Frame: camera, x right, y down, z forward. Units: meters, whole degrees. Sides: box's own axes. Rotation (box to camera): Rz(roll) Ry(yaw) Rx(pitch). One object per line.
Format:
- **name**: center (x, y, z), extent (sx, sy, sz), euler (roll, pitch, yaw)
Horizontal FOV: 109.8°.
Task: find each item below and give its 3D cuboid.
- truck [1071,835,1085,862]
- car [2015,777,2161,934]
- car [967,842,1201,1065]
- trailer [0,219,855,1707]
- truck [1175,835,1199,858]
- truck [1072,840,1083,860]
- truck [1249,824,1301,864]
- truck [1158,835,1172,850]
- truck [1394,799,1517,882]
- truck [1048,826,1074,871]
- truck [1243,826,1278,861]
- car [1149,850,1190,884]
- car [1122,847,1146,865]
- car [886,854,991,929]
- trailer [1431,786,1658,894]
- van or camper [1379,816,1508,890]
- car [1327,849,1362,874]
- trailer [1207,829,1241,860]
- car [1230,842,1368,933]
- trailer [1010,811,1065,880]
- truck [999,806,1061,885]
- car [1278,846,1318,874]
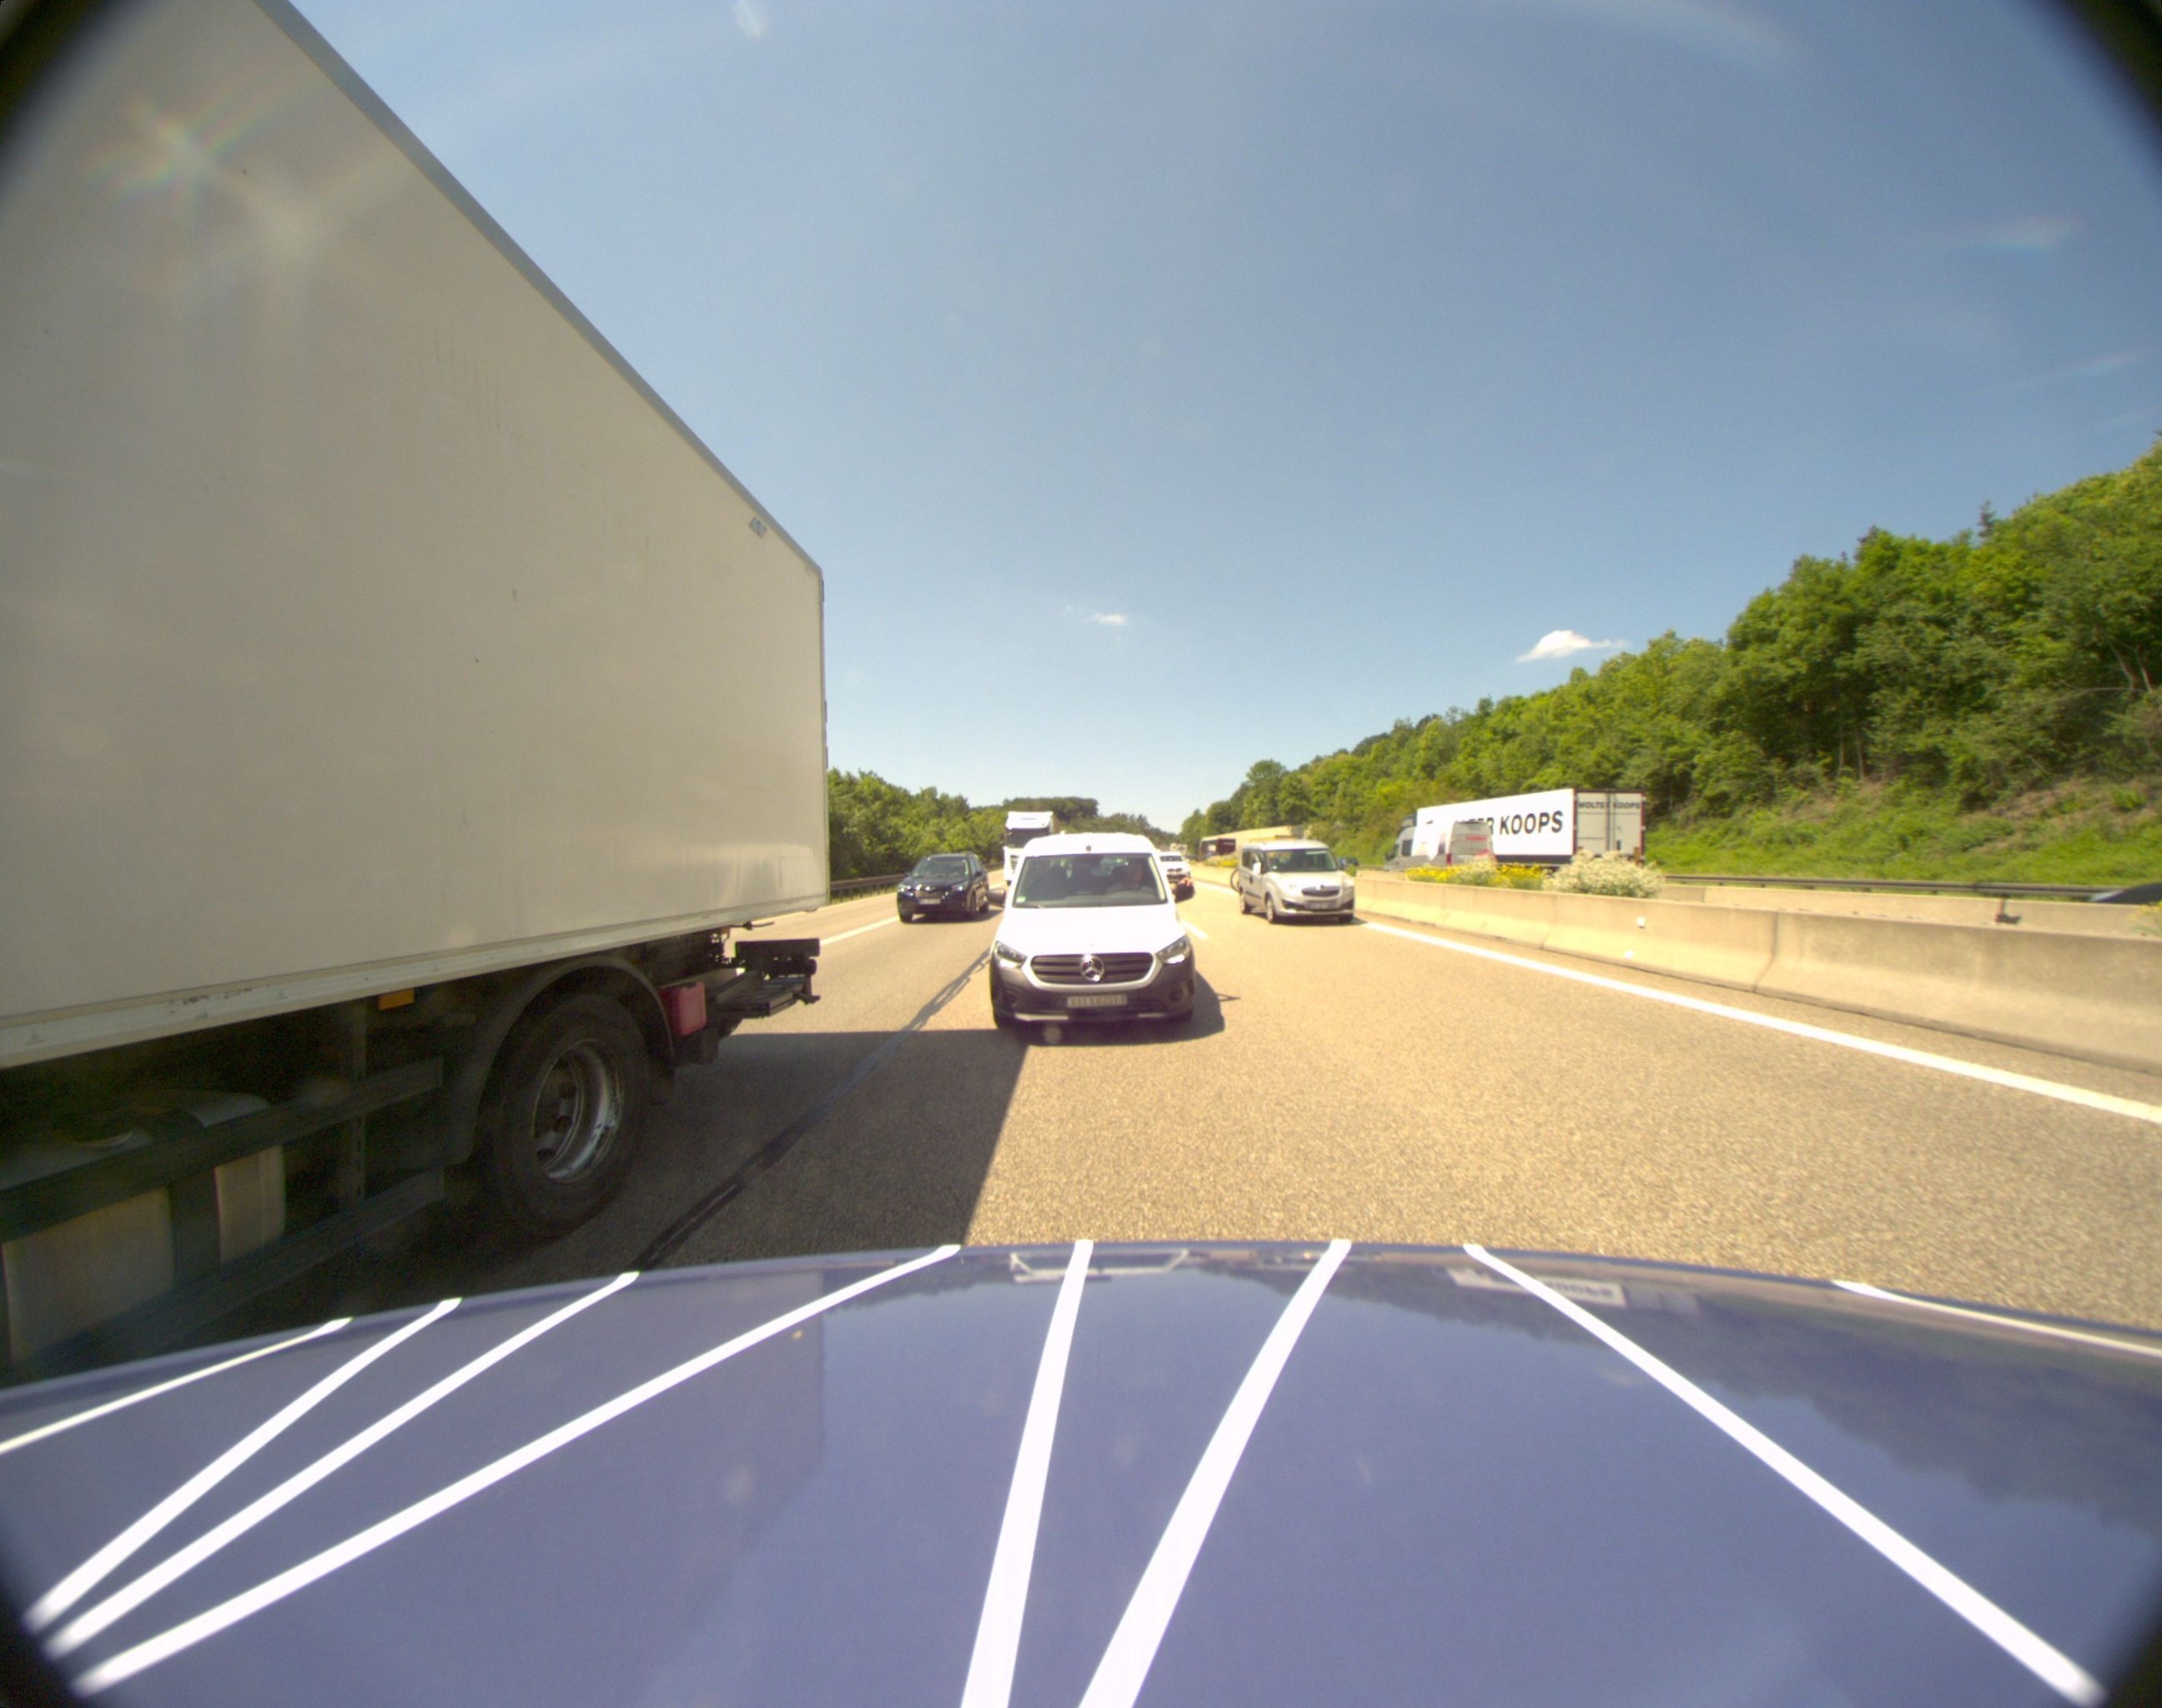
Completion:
- **truck**: center (-0.579, -0.804, 132.788), extent (2.187, 4.437, 10.869), euler (-2, -1, 0)
- **car**: center (14.791, -0.010, 9.204), extent (1.999, 2.002, 3.999), euler (-2, 1, -1)
- **car**: center (0.056, 0.746, 8.088), extent (1.756, 1.681, 4.363), euler (-2, 1, 1)
- **trailer**: center (-3.312, 0.258, 2.565), extent (2.562, 2.882, 7.882), euler (-2, 0, 1)
- **truck**: center (22.607, -1.529, 163.169), extent (3.277, 4.518, 14.101), euler (-2, -1, 1)
- **truck**: center (-0.784, -0.838, 167.883), extent (2.187, 4.073, 10.869), euler (-2, -1, 0)
- **truck**: center (24.222, -1.275, 95.753), extent (3.099, 4.519, 14.097), euler (-2, 1, 1)
- **truck**: center (27.503, -3.606, 249.382), extent (3.277, 4.518, 14.101), euler (-2, -1, 1)
- **truck**: center (19.590, -0.717, 40.346), extent (2.947, 3.897, 7.215), euler (-2, 1, 0)
- **truck**: center (-2.072, -0.514, 82.115), extent (2.394, 4.437, 10.869), euler (-2, -1, 0)
- **truck**: center (24.336, -1.387, 103.358), extent (3.099, 4.519, 7.093), euler (-2, 1, 1)
- **car**: center (4.916, 0.670, 42.445), extent (1.824, 1.696, 3.999), euler (-2, 1, 1)
- **car**: center (5.443, 0.227, 79.024), extent (1.999, 1.747, 3.998), euler (-2, 1, -2)
- **car**: center (-3.610, 0.876, 20.105), extent (1.999, 1.682, 4.609), euler (-1, 1, -2)
- **trailer**: center (19.494, -0.588, 33.324), extent (3.004, 3.849, 11.398), euler (-2, 1, 1)
- **van or camper**: center (15.675, -0.088, 33.433), extent (2.400, 2.859, 6.710), euler (-2, 1, 0)
- **car**: center (23.339, 0.657, 67.529), extent (1.998, 2.002, 4.001), euler (-2, 1, 6)
- **trailer**: center (20.567, -1.324, 109.845), extent (3.443, 4.170, 7.896), euler (-2, 1, 1)
- **car**: center (4.843, 0.644, 17.677), extent (1.857, 1.762, 4.917), euler (-2, 1, 1)
- **trailer**: center (-2.680, -0.575, 50.259), extent (2.766, 4.060, 11.616), euler (0, 1, 1)
- **truck**: center (-2.785, -0.497, 43.696), extent (2.766, 4.060, 7.333), euler (-2, 1, 1)
- **car**: center (16.318, 0.420, 57.265), extent (1.998, 2.002, 4.000), euler (-2, 1, 3)
